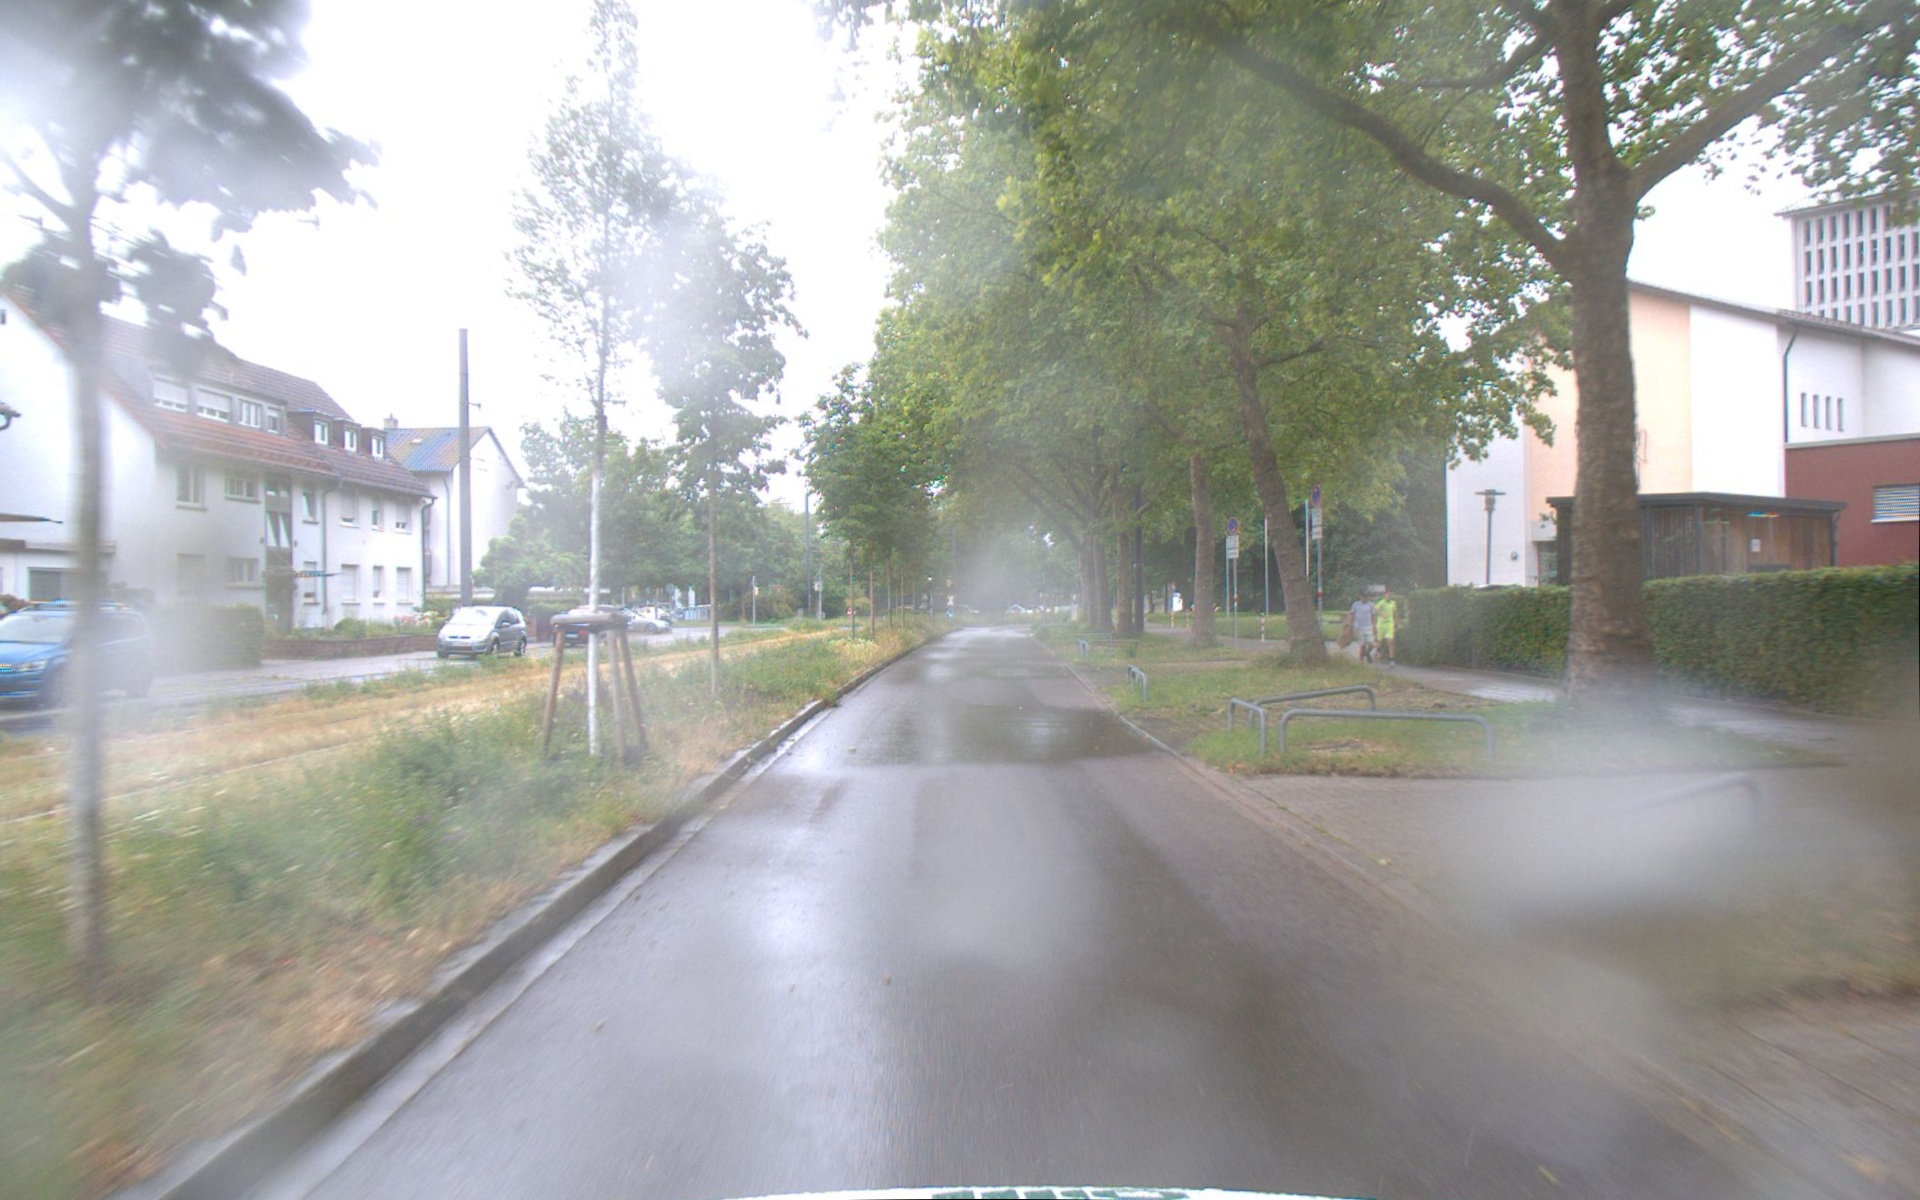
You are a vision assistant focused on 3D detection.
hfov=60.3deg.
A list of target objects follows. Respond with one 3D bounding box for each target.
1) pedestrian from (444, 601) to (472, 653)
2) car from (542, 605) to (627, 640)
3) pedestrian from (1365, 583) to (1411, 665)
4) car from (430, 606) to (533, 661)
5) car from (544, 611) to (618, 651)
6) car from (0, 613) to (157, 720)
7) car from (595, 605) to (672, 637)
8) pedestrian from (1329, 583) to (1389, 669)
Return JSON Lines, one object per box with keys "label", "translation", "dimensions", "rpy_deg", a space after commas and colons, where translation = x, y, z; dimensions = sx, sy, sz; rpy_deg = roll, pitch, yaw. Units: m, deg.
{"label": "pedestrian", "translation": [-17.791, 0.956, 58.598], "dimensions": [0.687, 1.786, 0.854], "rpy_deg": [-2, 0, 1]}
{"label": "car", "translation": [-19.367, 1.152, 85.508], "dimensions": [3.907, 1.645, 1.999], "rpy_deg": [-2, 0, -2]}
{"label": "pedestrian", "translation": [8.374, 0.462, 32.364], "dimensions": [0.545, 1.565, 0.966], "rpy_deg": [-1, 0, -4]}
{"label": "car", "translation": [-15.280, 1.036, 53.013], "dimensions": [1.952, 1.608, 4.517], "rpy_deg": [1, 0, 0]}
{"label": "car", "translation": [-15.253, 1.223, 66.762], "dimensions": [1.952, 1.514, 4.205], "rpy_deg": [1, 0, 0]}
{"label": "car", "translation": [-16.146, 1.100, 28.997], "dimensions": [1.952, 1.642, 4.413], "rpy_deg": [1, 0, 0]}
{"label": "car", "translation": [-18.493, 1.201, 93.781], "dimensions": [3.907, 1.645, 1.999], "rpy_deg": [-2, 0, -2]}
{"label": "pedestrian", "translation": [7.513, 0.485, 31.146], "dimensions": [0.817, 1.565, 0.859], "rpy_deg": [-2, 0, -5]}
